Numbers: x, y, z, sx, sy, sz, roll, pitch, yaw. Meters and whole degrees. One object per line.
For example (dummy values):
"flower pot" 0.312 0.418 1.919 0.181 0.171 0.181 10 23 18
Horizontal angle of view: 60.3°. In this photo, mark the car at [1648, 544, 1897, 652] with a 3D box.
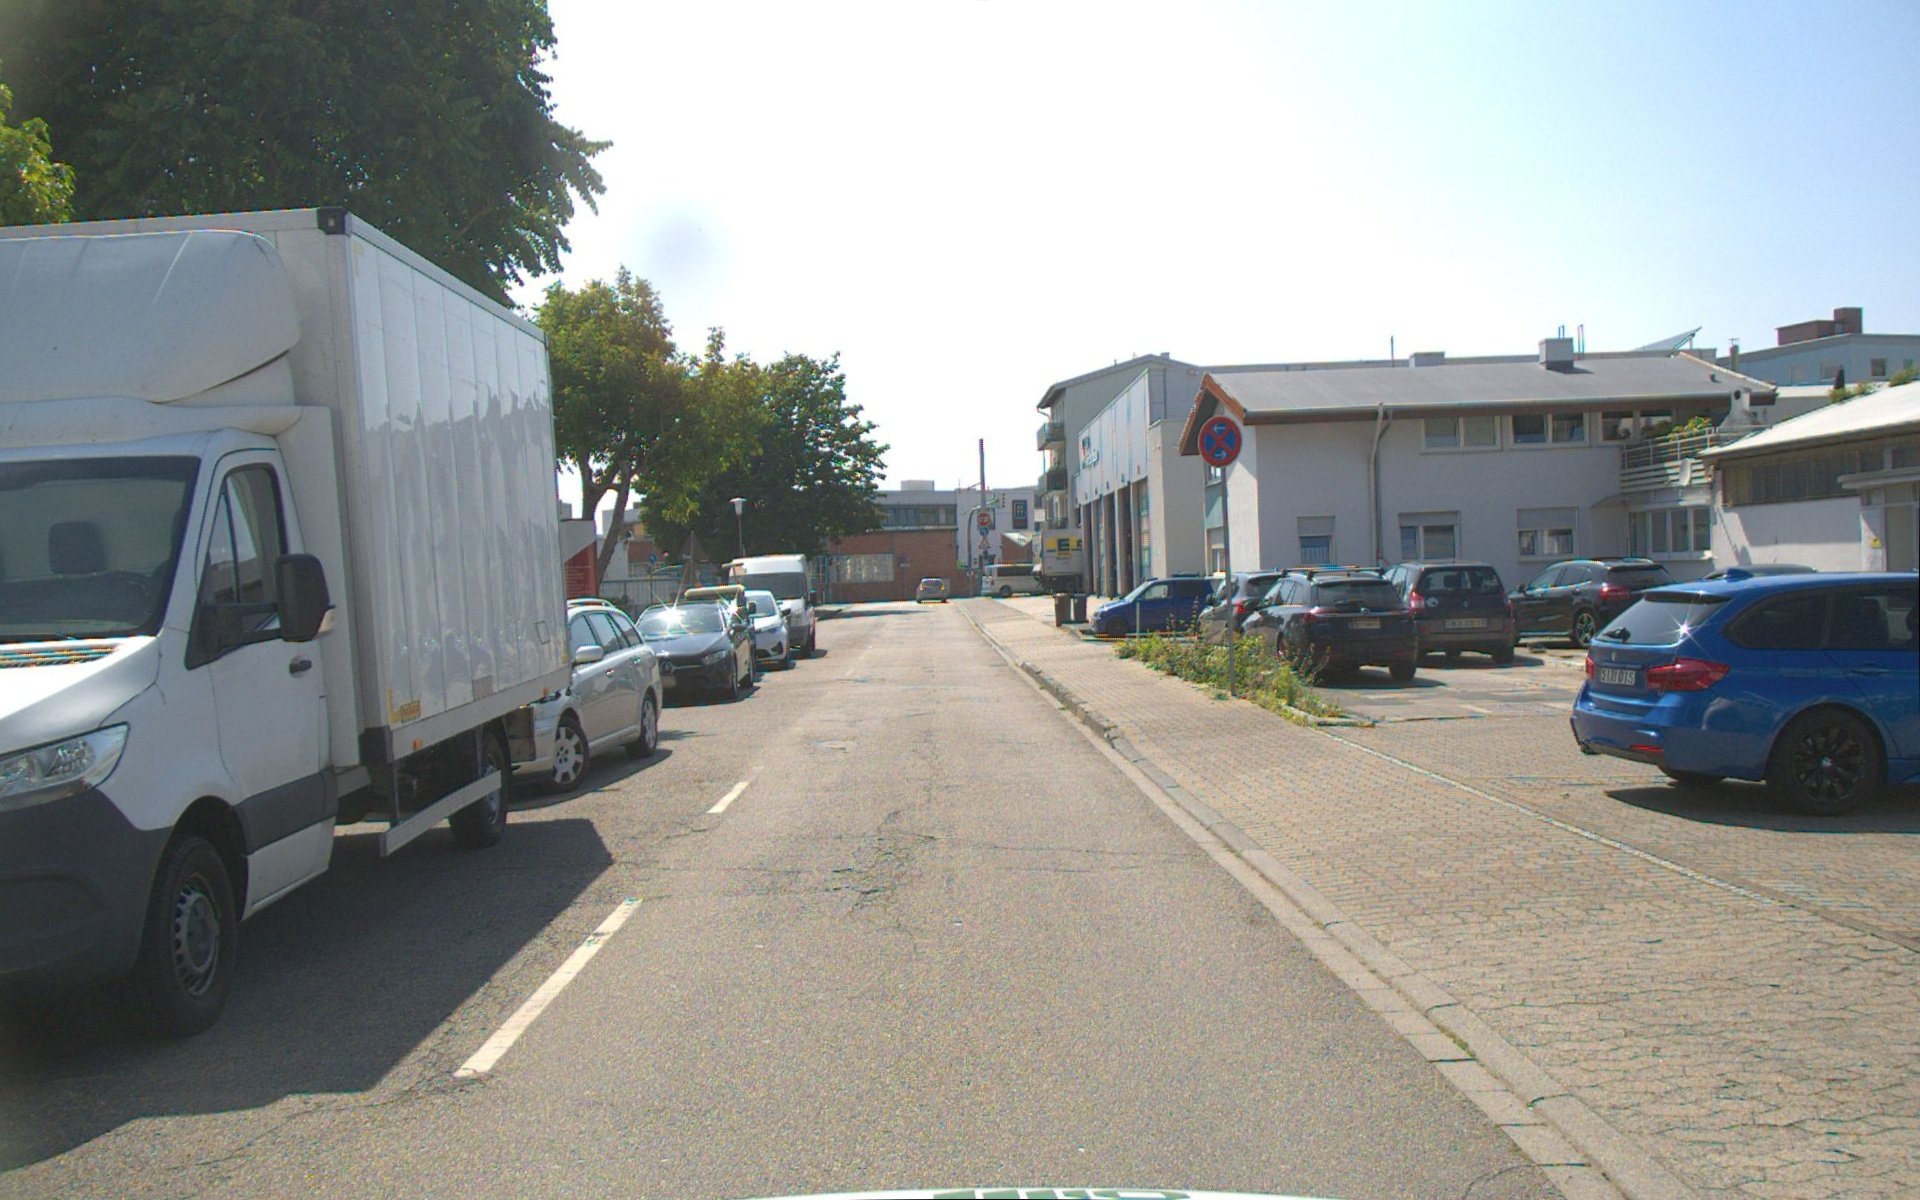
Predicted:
"car" 11.511 -0.065 23.757 1.608 1.347 4.102 -2 1 1

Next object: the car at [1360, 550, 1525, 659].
"car" 7.772 0.019 26.967 1.723 1.622 3.620 1 1 2

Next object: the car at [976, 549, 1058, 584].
"car" 3.503 -2.044 100.943 4.587 1.991 1.905 -3 1 -20

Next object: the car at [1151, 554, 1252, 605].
"car" 8.380 -0.714 57.211 1.746 1.566 3.684 -2 2 40

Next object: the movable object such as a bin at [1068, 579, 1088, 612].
"movable object such as a bin" 3.511 -0.138 49.357 0.502 0.962 0.488 -3 1 10

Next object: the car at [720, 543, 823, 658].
"car" -4.403 0.030 39.404 1.966 2.407 5.226 -4 0 -3

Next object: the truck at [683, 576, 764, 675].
"truck" -4.342 0.421 30.623 1.116 1.650 3.139 -4 1 -3

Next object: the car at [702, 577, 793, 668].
"car" -4.338 0.415 34.233 1.672 1.652 3.969 -4 1 -6

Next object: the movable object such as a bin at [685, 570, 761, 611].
"movable object such as a bin" -10.021 -0.400 70.002 2.571 1.536 2.730 -3 1 4

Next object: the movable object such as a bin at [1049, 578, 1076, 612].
"movable object such as a bin" 3.035 -0.137 48.933 0.557 0.962 0.556 -2 1 32

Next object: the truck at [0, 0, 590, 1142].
"truck" -3.942 -0.092 8.350 2.631 3.424 7.127 -3 0 -2

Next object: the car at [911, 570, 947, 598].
"car" -1.920 -0.995 102.518 1.854 1.714 3.953 1 1 -6

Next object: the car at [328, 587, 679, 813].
"car" -3.751 0.725 14.408 1.705 1.547 4.311 -2 1 1

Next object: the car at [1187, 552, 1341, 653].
"car" 5.330 0.001 29.508 1.775 1.585 4.291 -2 1 -2

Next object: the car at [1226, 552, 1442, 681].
"car" 5.261 0.167 23.958 1.821 1.595 4.950 -2 1 -2

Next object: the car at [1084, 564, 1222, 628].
"car" 4.784 -0.105 41.298 3.187 1.423 1.673 -3 1 -1

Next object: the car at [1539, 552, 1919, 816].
"car" 6.264 0.435 10.788 4.265 1.466 1.891 -3 1 -2

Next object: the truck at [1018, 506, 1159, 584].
"truck" 7.180 -3.073 92.614 7.222 3.707 2.763 -5 2 -7

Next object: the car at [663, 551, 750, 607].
"car" -12.510 -1.044 81.903 4.004 2.556 1.776 -2 1 -3

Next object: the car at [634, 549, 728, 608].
"car" -12.973 -0.994 77.067 4.004 2.556 1.776 -2 1 -3

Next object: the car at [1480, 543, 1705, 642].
"car" 11.155 -0.142 29.504 1.729 1.521 4.137 -4 1 -12

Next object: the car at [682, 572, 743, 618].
"car" -9.116 -0.215 61.226 1.778 1.556 3.673 -3 1 -3

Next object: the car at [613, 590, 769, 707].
"car" -3.988 0.662 25.146 1.670 1.488 4.113 -4 1 -1
